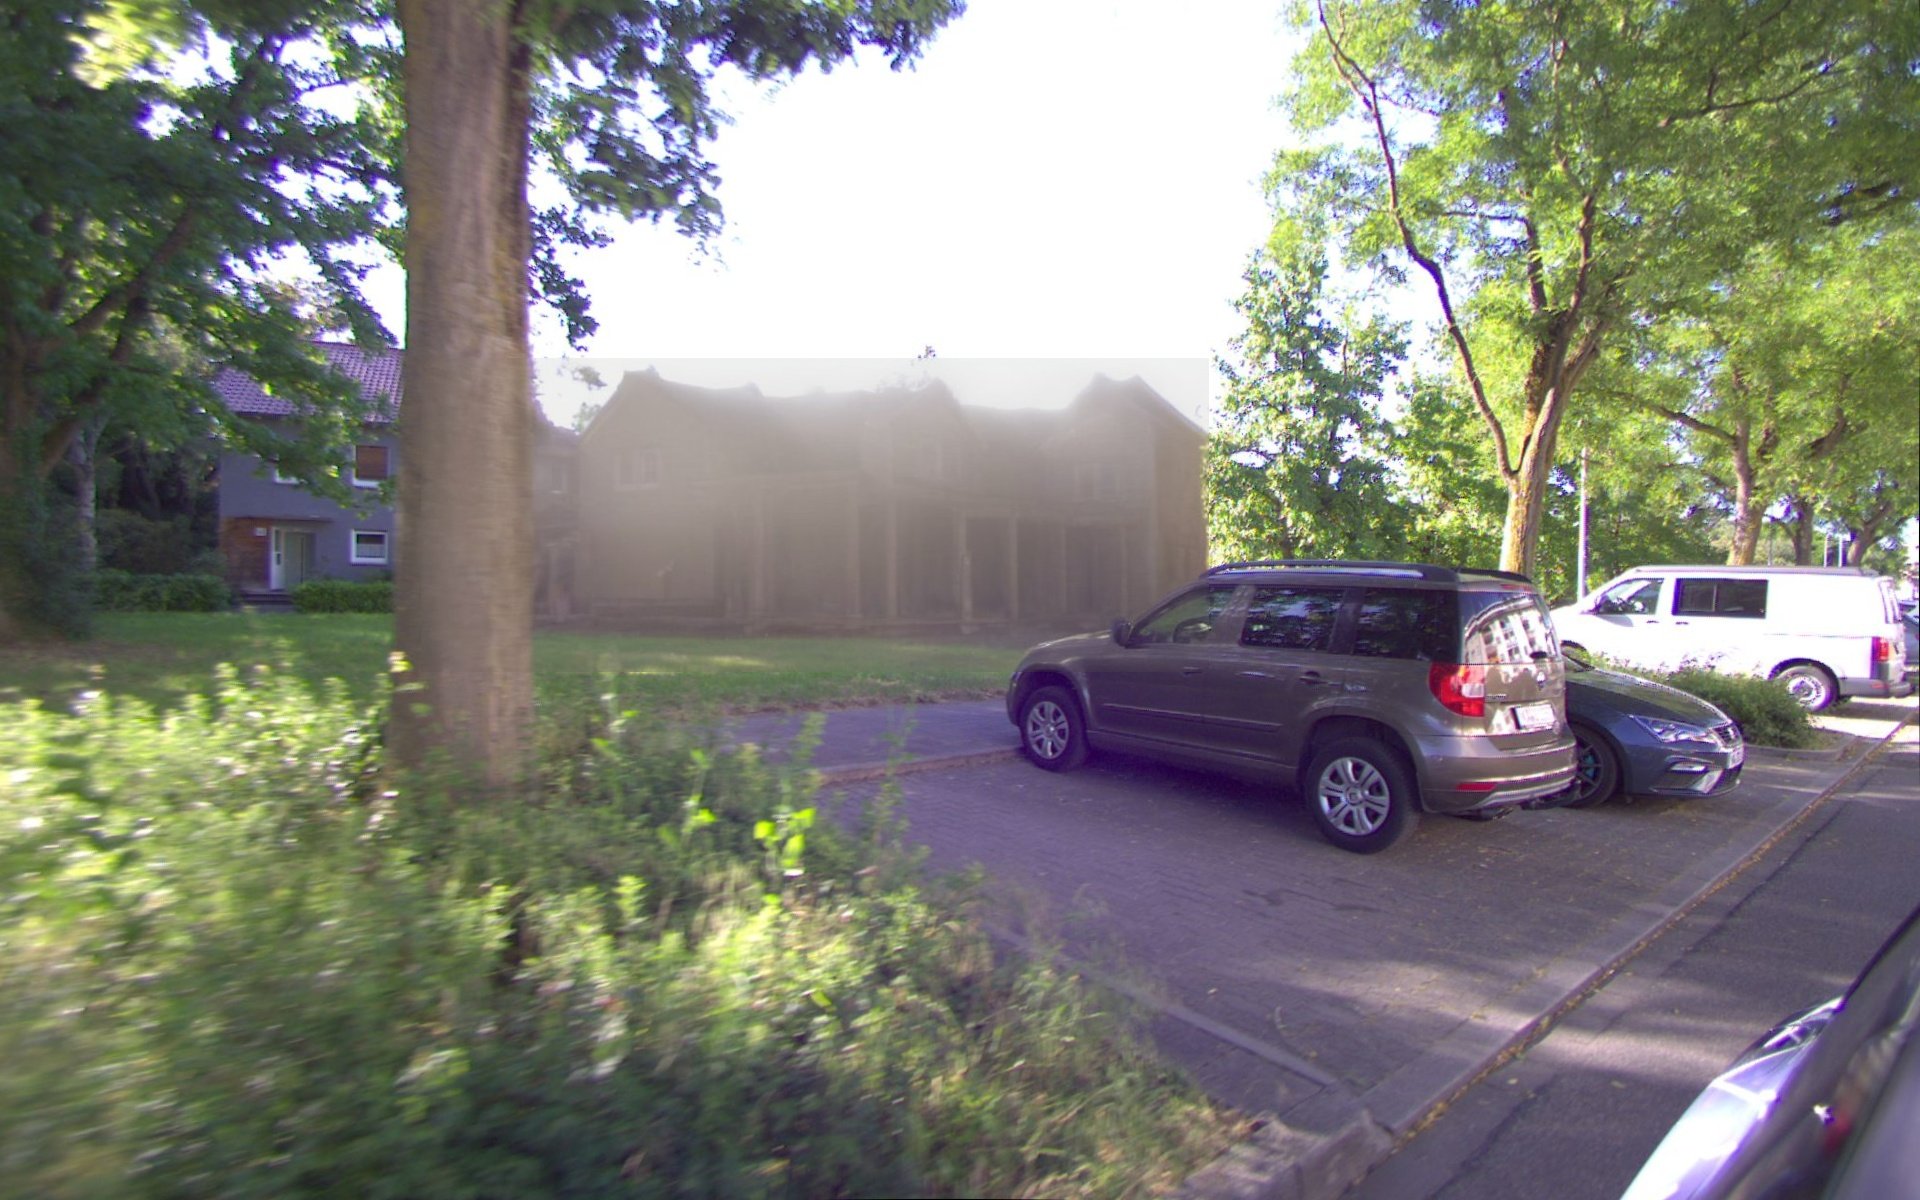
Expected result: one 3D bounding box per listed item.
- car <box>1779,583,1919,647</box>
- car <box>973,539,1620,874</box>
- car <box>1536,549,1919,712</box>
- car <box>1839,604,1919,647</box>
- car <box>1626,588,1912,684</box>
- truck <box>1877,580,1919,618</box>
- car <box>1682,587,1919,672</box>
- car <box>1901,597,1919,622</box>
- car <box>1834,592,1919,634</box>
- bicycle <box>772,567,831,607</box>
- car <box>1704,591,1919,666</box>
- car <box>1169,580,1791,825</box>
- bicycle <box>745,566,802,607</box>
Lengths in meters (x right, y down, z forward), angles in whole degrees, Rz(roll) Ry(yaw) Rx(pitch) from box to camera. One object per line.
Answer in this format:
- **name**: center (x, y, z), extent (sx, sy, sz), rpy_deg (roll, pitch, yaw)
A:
- **car**: center (27.582, 0.433, 30.698), extent (1.716, 1.786, 4.046), rpy_deg (0, 2, -43)
- **car**: center (2.112, 0.461, 7.386), extent (1.743, 1.716, 4.159), rpy_deg (1, 2, -39)
- **car**: center (11.620, 0.312, 15.444), extent (1.985, 2.041, 4.461), rpy_deg (1, 3, -40)
- **car**: center (38.031, 1.017, 40.658), extent (4.042, 1.679, 1.718), rpy_deg (1, 1, 44)
- **car**: center (15.085, 0.596, 19.055), extent (1.606, 1.453, 3.918), rpy_deg (1, 2, -38)
- **truck**: center (77.801, -0.081, 83.630), extent (2.756, 2.835, 8.141), rpy_deg (5, 3, 42)
- **car**: center (18.443, 0.574, 22.207), extent (1.607, 1.453, 3.916), rpy_deg (1, 3, -41)
- **car**: center (65.079, 0.663, 68.587), extent (1.768, 1.635, 3.990), rpy_deg (5, 3, 42)
- **car**: center (39.912, 0.595, 43.008), extent (4.045, 1.572, 1.717), rpy_deg (5, 4, 45)
- **bicycle**: center (-6.082, -0.493, 38.660), extent (0.810, 1.461, 2.915), rpy_deg (0, 0, -40)
- **car**: center (20.448, 0.614, 23.803), extent (1.716, 1.489, 4.485), rpy_deg (0, 2, -44)
- **car**: center (4.186, 0.634, 8.802), extent (1.744, 1.431, 4.459), rpy_deg (1, 2, -42)
- **bicycle**: center (-7.117, -0.515, 38.452), extent (0.810, 1.492, 2.915), rpy_deg (0, 0, -40)
